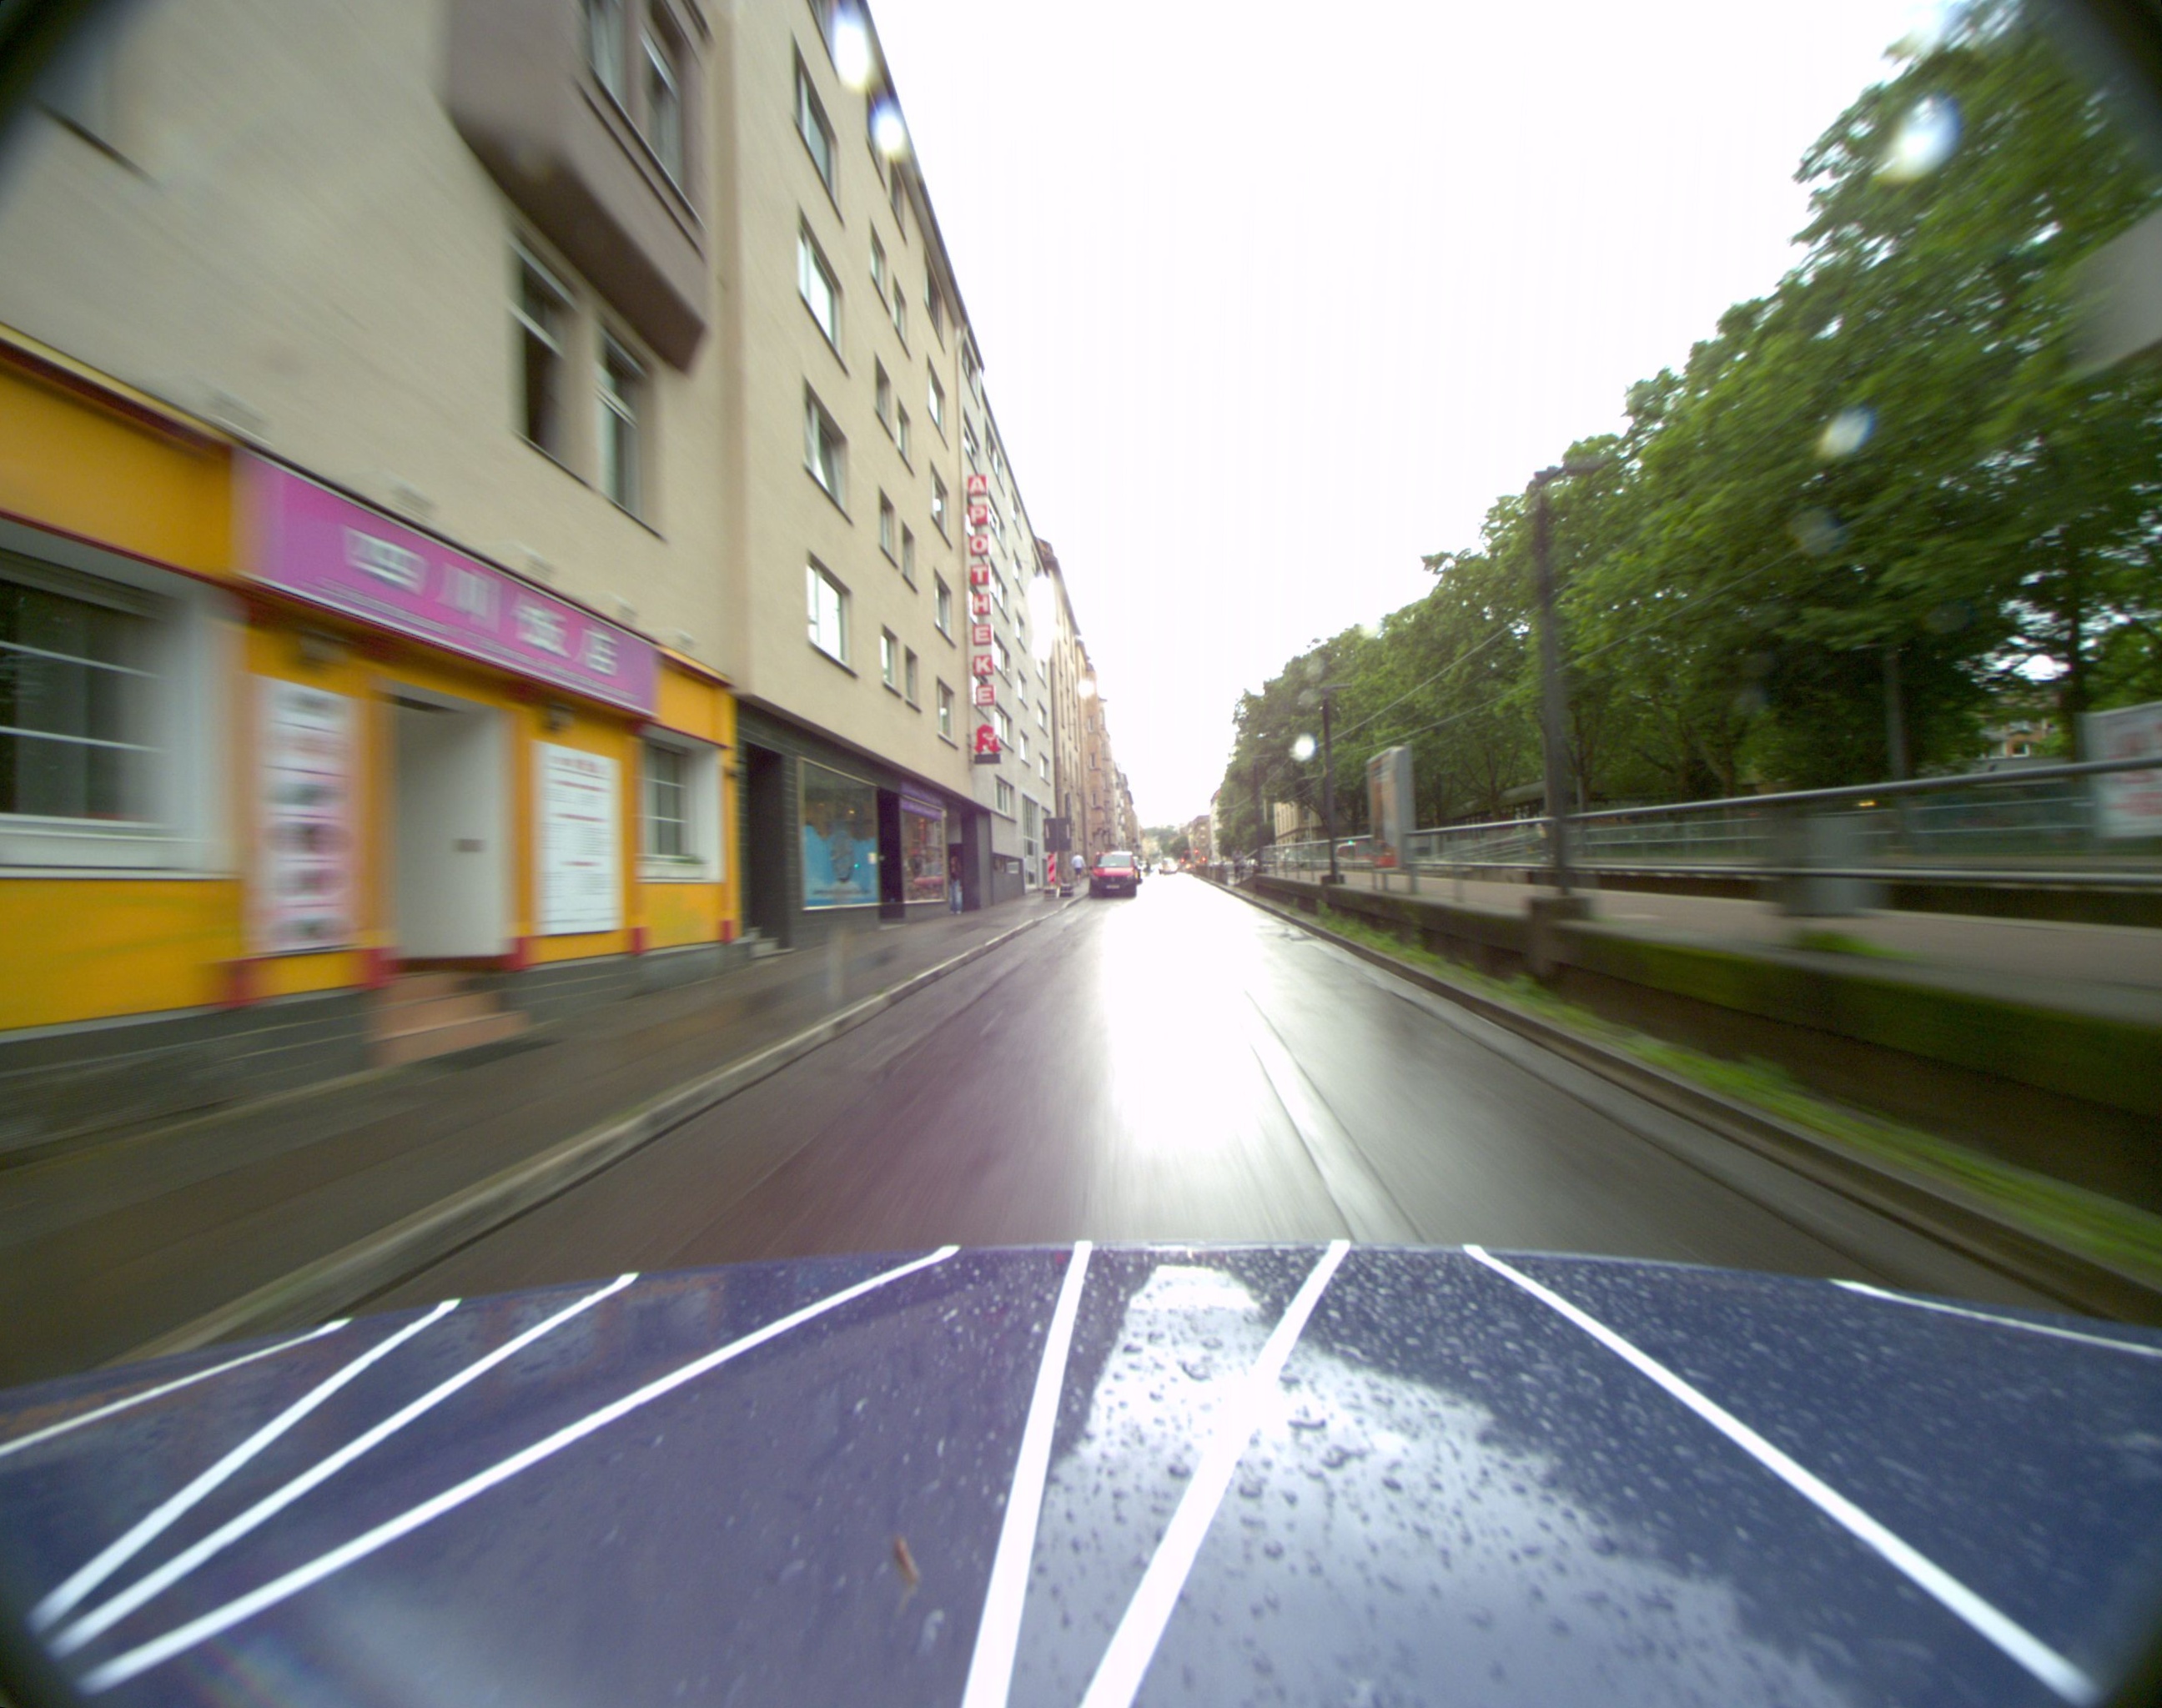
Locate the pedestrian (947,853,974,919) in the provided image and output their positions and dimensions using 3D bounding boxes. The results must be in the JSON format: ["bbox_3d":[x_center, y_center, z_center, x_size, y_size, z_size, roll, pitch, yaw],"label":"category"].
[{"bbox_3d":[-3.219,0.849,20.279,0.462,1.710,0.517,-3,1,14],"label":"pedestrian"}]

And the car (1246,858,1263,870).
[{"bbox_3d":[24.018,1.344,105.138,1.891,1.468,3.809,-3,-1,7],"label":"car"}]

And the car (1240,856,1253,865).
[{"bbox_3d":[26.102,1.037,120.220,1.483,1.392,3.284,-2,-1,4],"label":"car"}]

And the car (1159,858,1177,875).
[{"bbox_3d":[8.295,1.228,72.678,1.620,1.592,4.069,-1,-2,5],"label":"car"}]

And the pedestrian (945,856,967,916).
[{"bbox_3d":[-3.503,0.896,21.255,0.483,1.635,0.331,-3,0,-21],"label":"pedestrian"}]

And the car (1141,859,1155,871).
[{"bbox_3d":[8.950,1.489,101.497,1.745,1.576,4.002,-1,-1,5],"label":"car"}]

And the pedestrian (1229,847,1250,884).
[{"bbox_3d":[7.920,0.571,38.068,0.861,1.788,0.787,-2,0,5],"label":"pedestrian"}]

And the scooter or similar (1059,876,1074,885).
[{"bbox_3d":[-0.817,1.468,42.668,0.858,0.503,0.258,-1,1,36],"label":"scooter or similar"}]

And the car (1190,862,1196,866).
[{"bbox_3d":[33.334,3.038,225.825,1.571,1.159,2.911,-2,-1,3],"label":"car"}]

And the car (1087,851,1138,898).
[{"bbox_3d":[1.448,0.828,32.899,1.979,1.827,5.247,-2,0,4],"label":"car"}]

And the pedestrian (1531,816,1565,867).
[{"bbox_3d":[15.970,-0.419,25.999,0.659,1.652,0.688,-3,-4,6],"label":"pedestrian"}]

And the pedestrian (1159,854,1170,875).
[{"bbox_3d":[6.945,0.898,63.396,0.651,1.694,0.662,-2,0,29],"label":"pedestrian"}]

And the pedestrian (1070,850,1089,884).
[{"bbox_3d":[-0.061,0.684,40.608,0.853,1.747,0.838,-3,0,6],"label":"pedestrian"}]

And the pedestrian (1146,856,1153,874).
[{"bbox_3d":[6.204,0.997,68.666,0.481,1.629,0.433,-2,-1,0],"label":"pedestrian"}]
